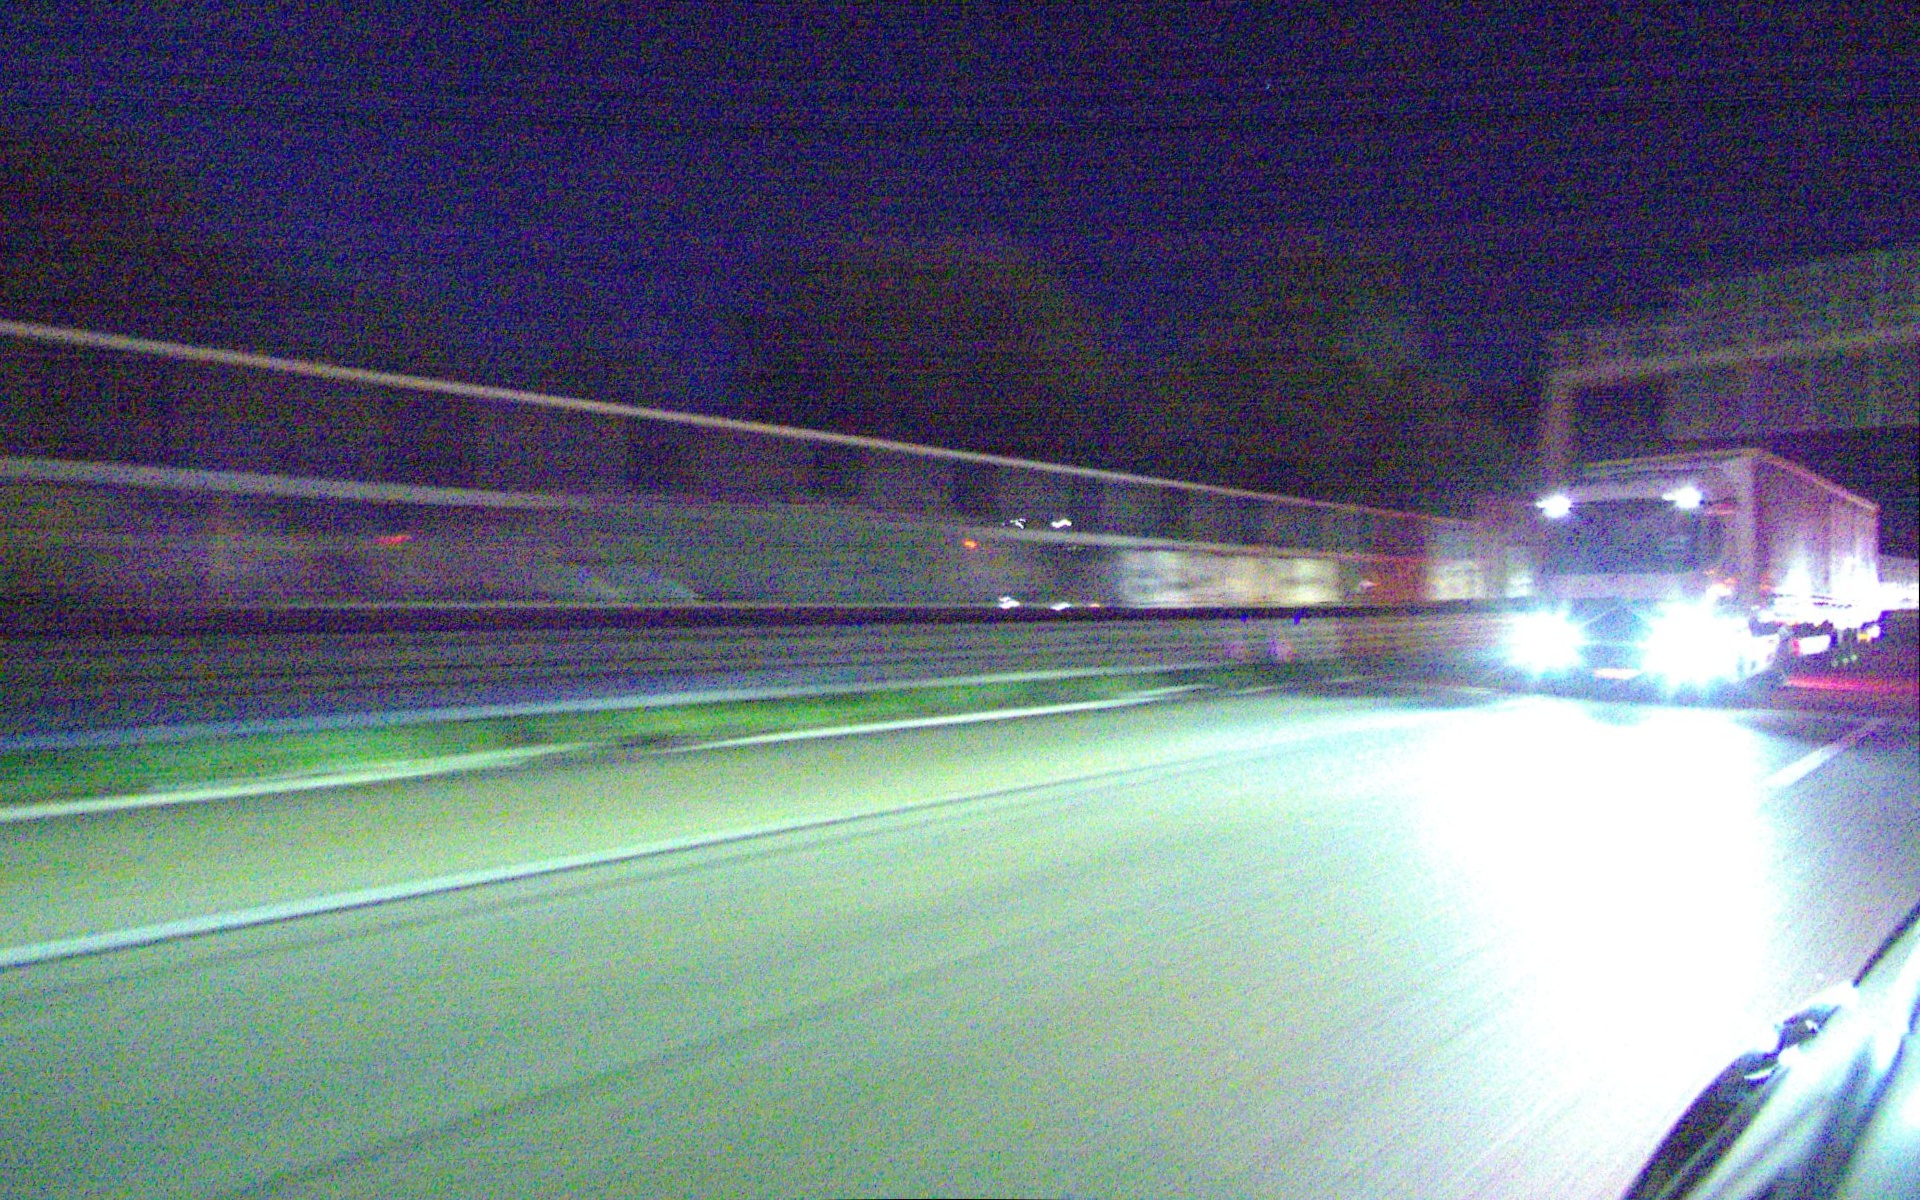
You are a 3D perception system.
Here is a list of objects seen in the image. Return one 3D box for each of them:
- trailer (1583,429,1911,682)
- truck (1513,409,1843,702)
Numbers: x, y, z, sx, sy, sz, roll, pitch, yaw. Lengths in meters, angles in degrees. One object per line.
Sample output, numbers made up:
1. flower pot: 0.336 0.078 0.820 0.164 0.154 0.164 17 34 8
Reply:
1. trailer: 17.416 -0.801 21.756 12.972 4.117 2.861 0 3 -41
2. truck: 12.806 -0.703 17.763 7.378 4.126 2.868 0 3 -41
